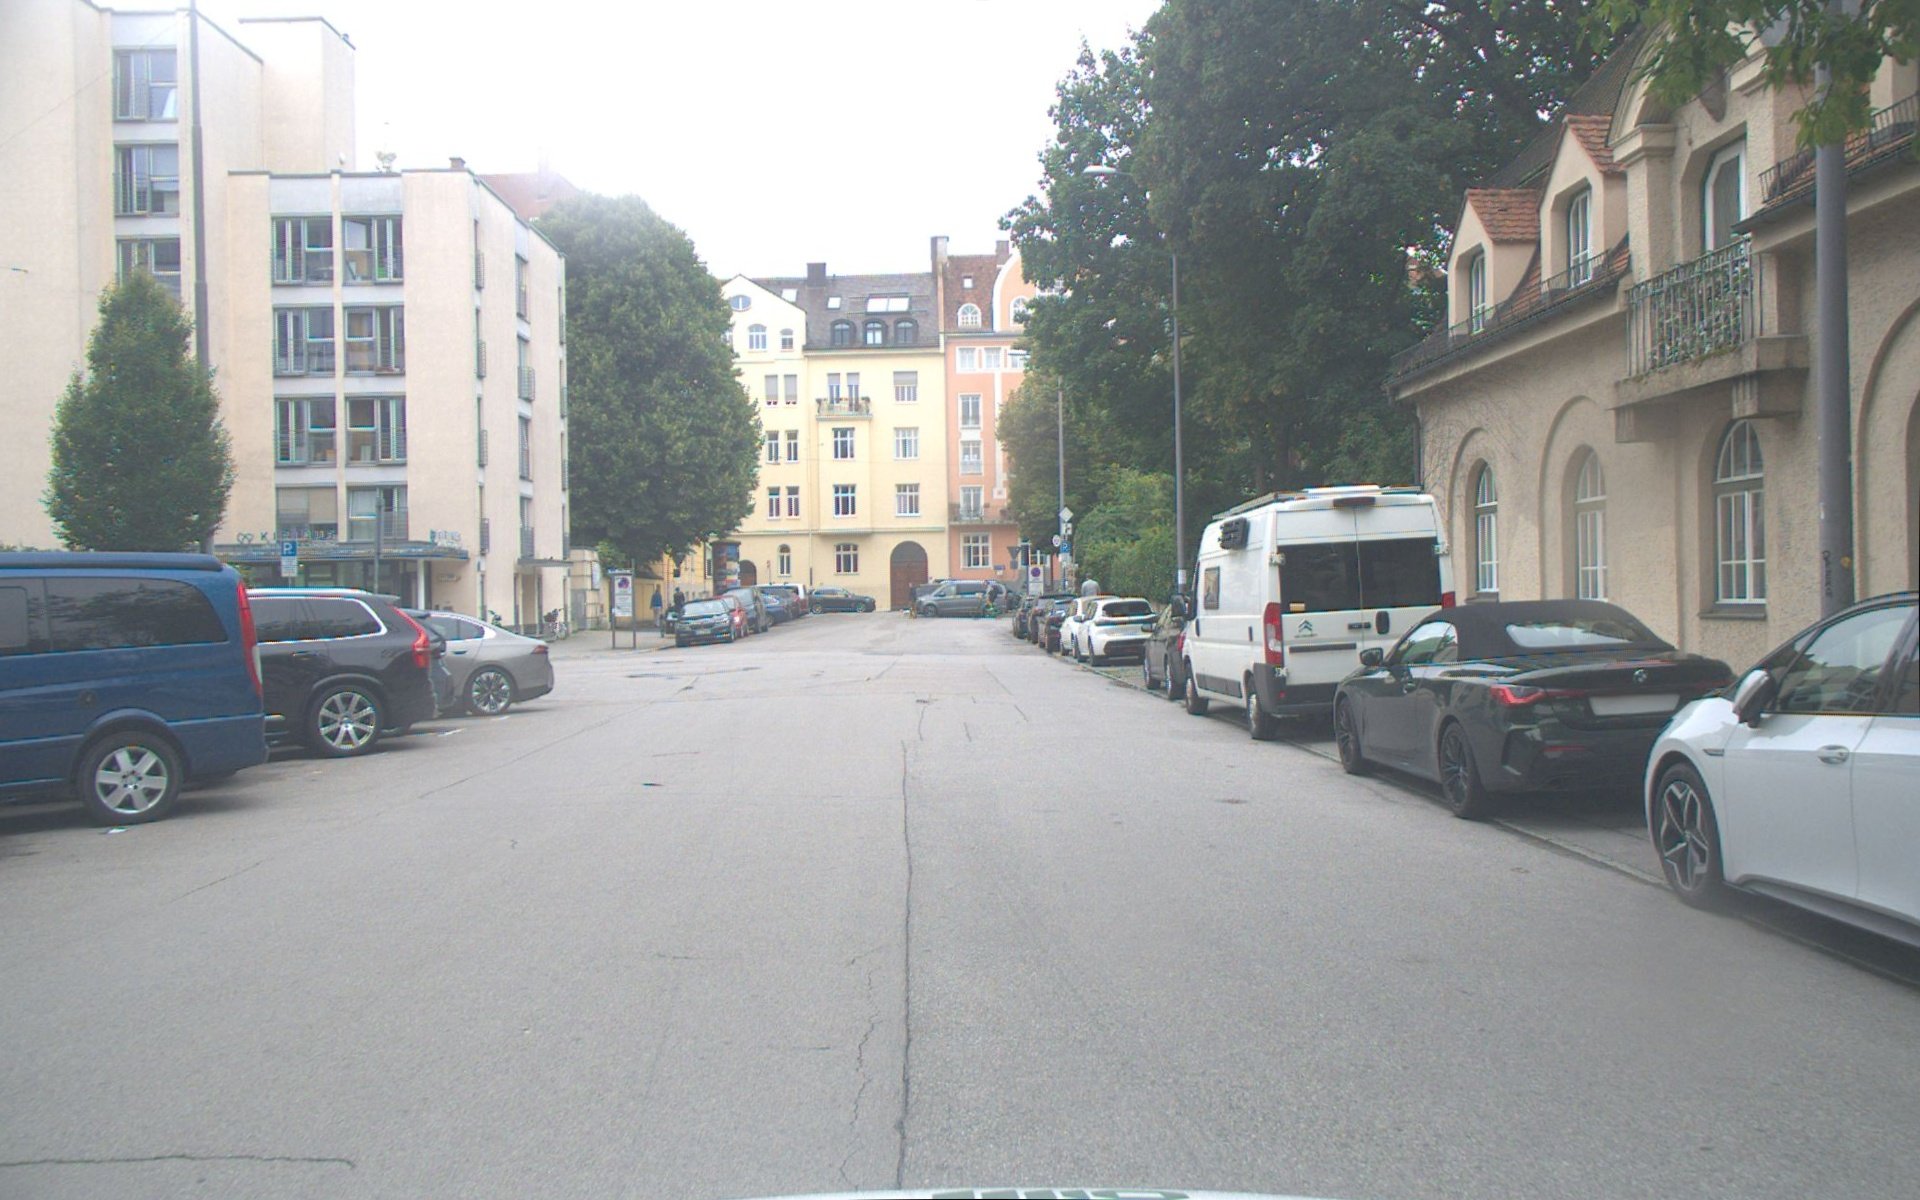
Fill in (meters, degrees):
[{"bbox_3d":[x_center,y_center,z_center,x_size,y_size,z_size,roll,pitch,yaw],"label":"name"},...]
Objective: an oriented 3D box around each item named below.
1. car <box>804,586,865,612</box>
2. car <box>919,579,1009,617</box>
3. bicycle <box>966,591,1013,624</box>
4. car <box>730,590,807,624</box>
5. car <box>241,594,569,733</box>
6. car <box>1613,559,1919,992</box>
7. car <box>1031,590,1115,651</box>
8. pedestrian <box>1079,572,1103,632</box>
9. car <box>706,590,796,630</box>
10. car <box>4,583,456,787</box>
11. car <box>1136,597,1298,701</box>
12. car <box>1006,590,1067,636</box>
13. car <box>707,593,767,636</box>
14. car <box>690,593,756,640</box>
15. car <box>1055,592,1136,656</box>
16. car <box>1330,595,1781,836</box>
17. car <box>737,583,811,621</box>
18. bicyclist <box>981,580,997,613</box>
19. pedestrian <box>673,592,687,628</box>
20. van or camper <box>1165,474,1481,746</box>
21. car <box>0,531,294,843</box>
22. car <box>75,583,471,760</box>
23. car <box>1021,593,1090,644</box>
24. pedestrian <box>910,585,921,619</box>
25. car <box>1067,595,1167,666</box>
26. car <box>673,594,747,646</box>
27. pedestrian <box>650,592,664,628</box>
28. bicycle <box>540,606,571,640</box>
[{"bbox_3d":[-8.302,-0.046,109.638,3.905,1.614,1.703,-1,0,0],"label":"car"},{"bbox_3d":[0.188,-0.090,87.353,4.610,1.913,1.839,-1,0,-3],"label":"car"},{"bbox_3d":[1.387,0.343,77.609,2.172,1.537,0.655,0,0,-2],"label":"bicycle"},{"bbox_3d":[-10.291,0.355,89.026,3.907,1.534,1.840,-4,0,-2],"label":"car"},{"bbox_3d":[-7.815,0.835,23.407,4.070,1.637,1.717,-3,1,-34],"label":"car"},{"bbox_3d":[4.358,0.623,6.656,1.672,1.564,4.239,-3,0,-1],"label":"car"},{"bbox_3d":[3.165,0.536,46.882,1.768,1.491,3.834,-3,2,-5],"label":"car"},{"bbox_3d":[4.506,0.065,56.987,0.757,2.049,0.562,-1,0,-2],"label":"pedestrian"},{"bbox_3d":[-9.697,0.464,77.078,3.907,1.534,1.840,-4,0,-2],"label":"car"},{"bbox_3d":[-7.538,0.792,17.195,4.067,1.738,1.718,-3,1,-32],"label":"car"},{"bbox_3d":[3.889,0.690,25.711,1.673,1.393,4.128,-3,0,-2],"label":"car"},{"bbox_3d":[2.624,0.415,57.231,1.637,1.367,3.835,-3,2,-4],"label":"car"},{"bbox_3d":[-8.843,0.542,65.806,1.797,1.534,3.999,-4,0,-1],"label":"car"},{"bbox_3d":[-8.678,0.588,60.912,1.797,1.534,3.999,-4,0,-1],"label":"car"},{"bbox_3d":[3.449,0.572,42.597,1.672,1.491,3.837,-3,0,-1],"label":"car"},{"bbox_3d":[4.181,0.706,12.446,1.673,1.393,4.440,-3,0,-1],"label":"car"},{"bbox_3d":[-10.515,0.084,93.810,3.907,1.830,1.840,-4,0,-2],"label":"car"},{"bbox_3d":[1.357,-0.183,77.602,0.750,1.537,0.655,0,0,-1],"label":"bicyclist"},{"bbox_3d":[-13.080,0.457,77.263,0.559,1.686,0.464,-1,0,-1],"label":"pedestrian"},{"bbox_3d":[3.970,0.081,19.306,2.148,2.594,5.726,-3,0,-2],"label":"van or camper"},{"bbox_3d":[-7.240,0.644,12.057,4.162,2.102,1.719,-3,0,-31],"label":"car"},{"bbox_3d":[-8.084,0.775,19.563,4.067,1.738,1.718,-3,1,-32],"label":"car"},{"bbox_3d":[2.979,0.550,52.319,1.637,1.367,3.835,-3,2,-4],"label":"car"},{"bbox_3d":[-2.260,0.090,83.611,0.454,1.686,0.572,-1,0,-7],"label":"pedestrian"},{"bbox_3d":[3.522,0.646,37.656,1.673,1.432,4.128,-3,0,-2],"label":"car"},{"bbox_3d":[-8.275,0.642,54.968,1.797,1.534,3.999,-4,0,-1],"label":"car"},{"bbox_3d":[-14.177,0.468,77.399,0.559,1.686,0.464,-1,0,-1],"label":"pedestrian"},{"bbox_3d":[-14.511,0.801,59.348,0.625,1.169,2.423,0,0,-3],"label":"bicycle"}]
